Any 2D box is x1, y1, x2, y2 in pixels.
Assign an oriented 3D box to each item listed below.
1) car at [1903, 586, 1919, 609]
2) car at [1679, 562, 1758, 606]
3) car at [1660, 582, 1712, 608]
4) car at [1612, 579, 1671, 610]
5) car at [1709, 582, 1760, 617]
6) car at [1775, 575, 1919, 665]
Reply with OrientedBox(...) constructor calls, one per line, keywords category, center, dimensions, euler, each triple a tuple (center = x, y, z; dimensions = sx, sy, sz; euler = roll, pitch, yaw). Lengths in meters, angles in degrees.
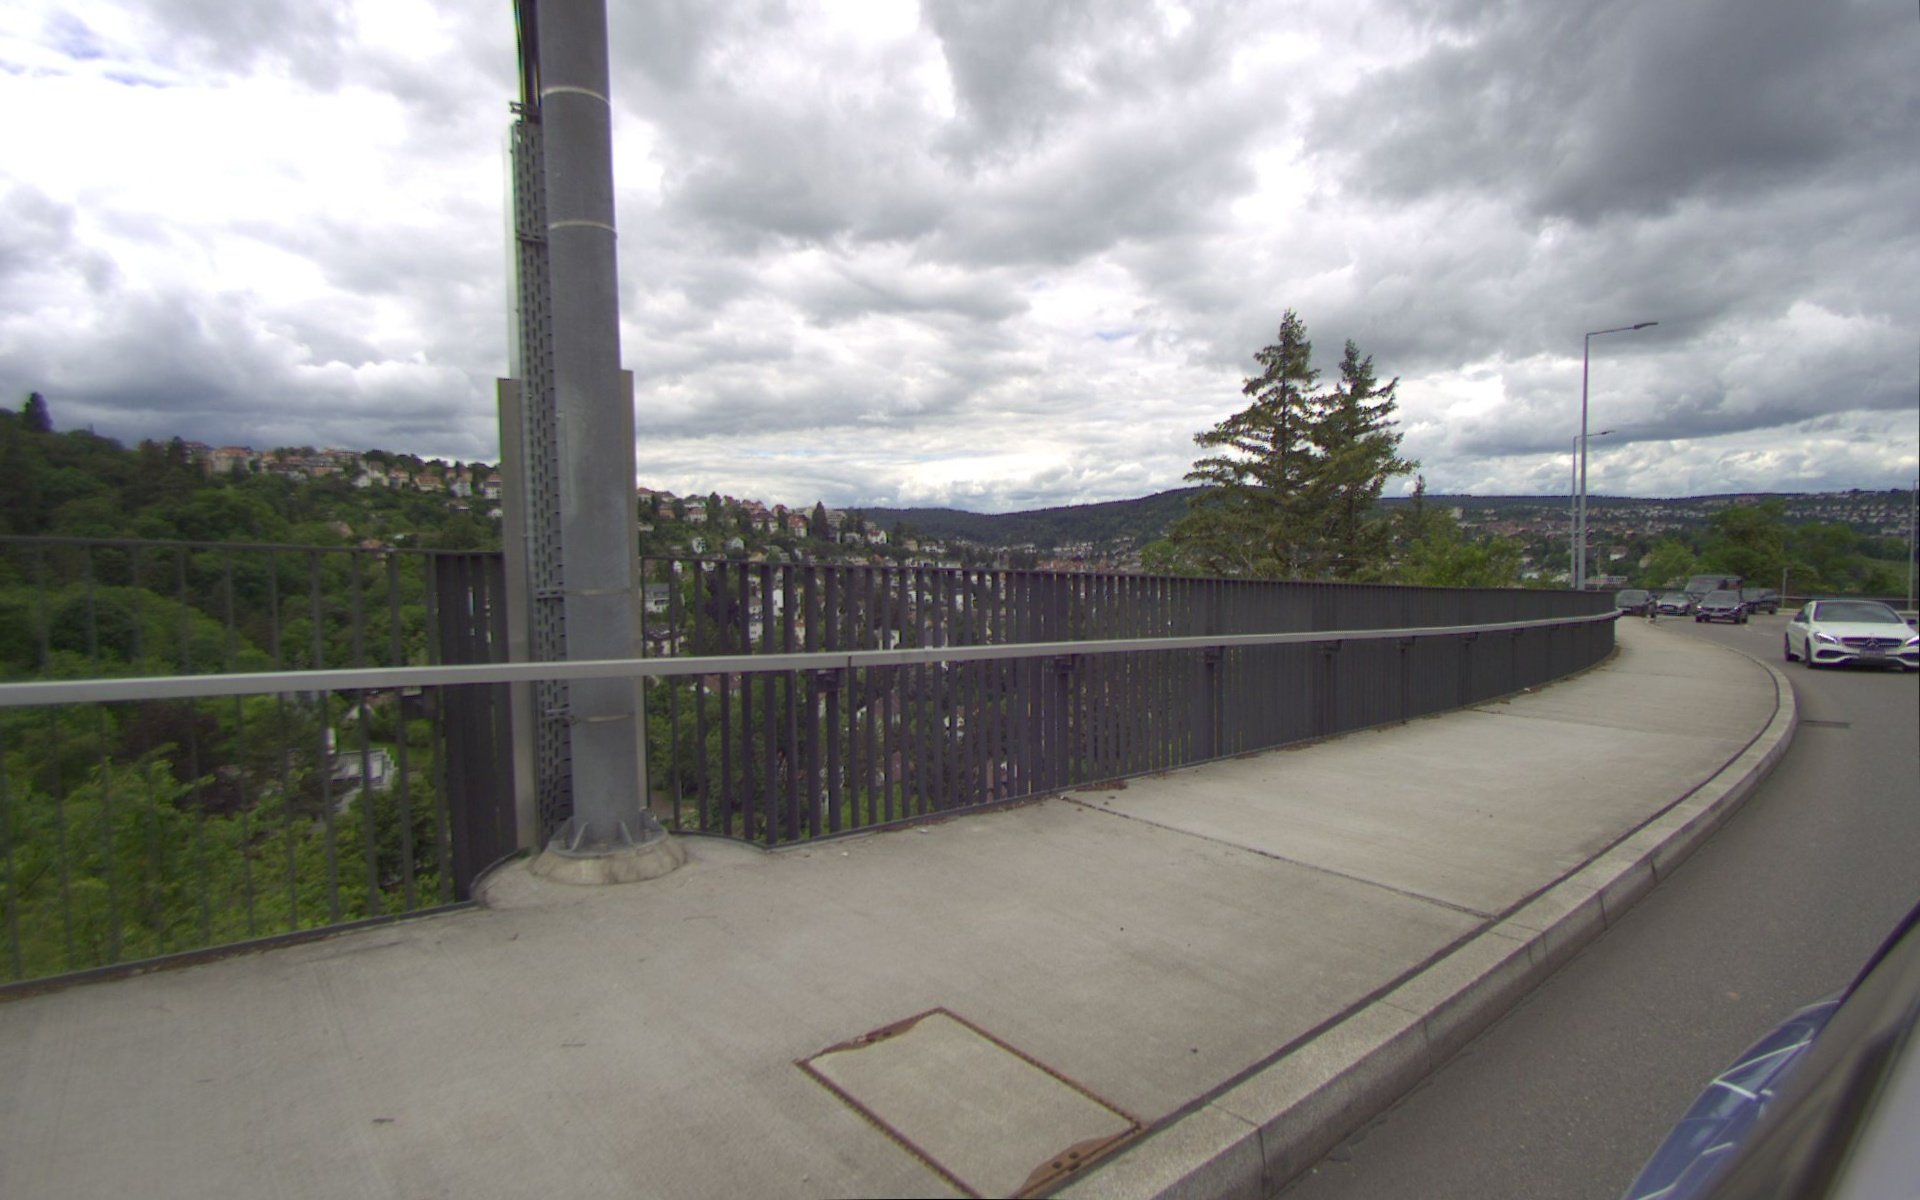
OrientedBox(category="car", center=(72.258, -0.174, 75.202), dimensions=(4.446, 1.692, 2.002), euler=(0, 1, -30))
OrientedBox(category="car", center=(48.537, -1.048, 64.691), dimensions=(5.661, 2.551, 2.176), euler=(0, 6, -35))
OrientedBox(category="car", center=(43.701, -0.329, 60.866), dimensions=(3.784, 1.448, 1.717), euler=(-1, 4, -42))
OrientedBox(category="car", center=(36.828, -0.330, 54.664), dimensions=(4.023, 1.562, 1.876), euler=(-1, 3, -45))
OrientedBox(category="car", center=(39.440, -0.051, 51.601), dimensions=(1.989, 1.692, 4.477), euler=(1, 1, 37))
OrientedBox(category="car", center=(19.083, 0.385, 21.634), dimensions=(1.983, 1.740, 3.957), euler=(0, 0, 30))
